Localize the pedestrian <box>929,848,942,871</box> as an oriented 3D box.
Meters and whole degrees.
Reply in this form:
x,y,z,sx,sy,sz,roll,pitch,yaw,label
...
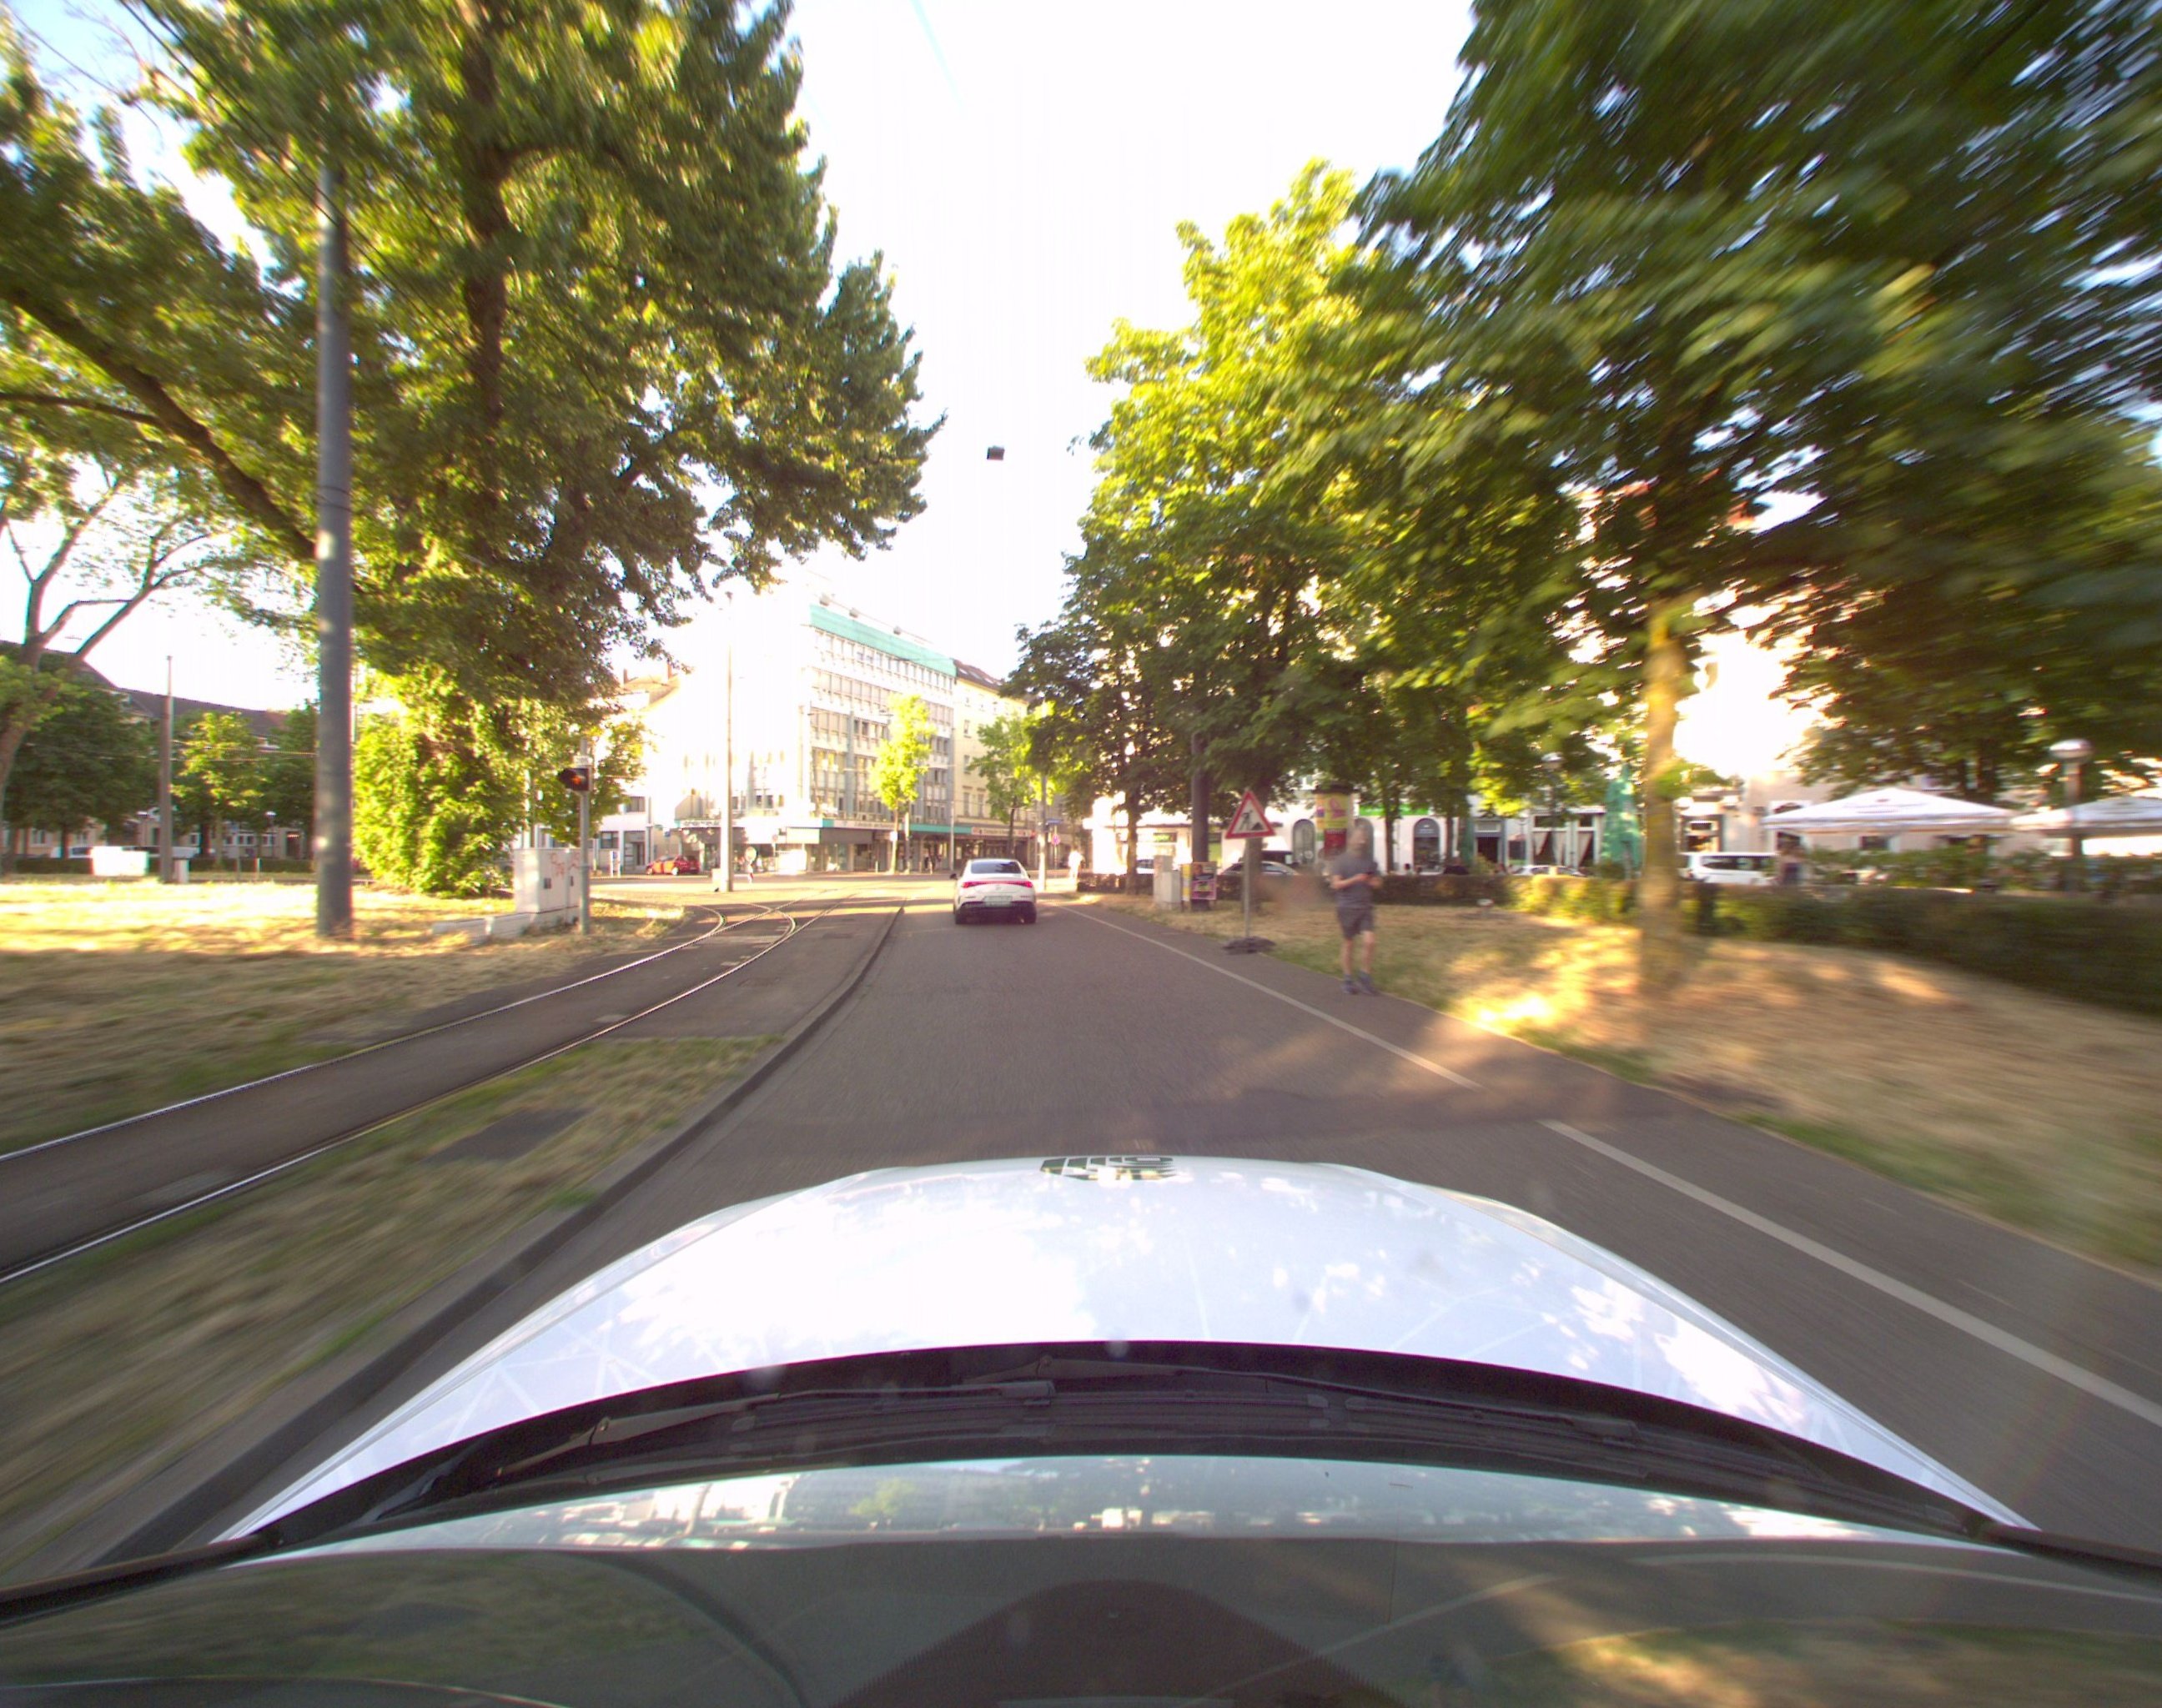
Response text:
x,y,z,sx,sy,sz,roll,pitch,yaw,label
-12.597,0.477,70.560,0.789,2.014,0.738,0,-1,25,pedestrian

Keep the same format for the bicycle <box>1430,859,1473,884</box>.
x,y,z,sx,sy,sz,roll,pitch,yaw,label
18.737,0.895,41.234,1.964,1.245,0.691,0,0,23,bicycle

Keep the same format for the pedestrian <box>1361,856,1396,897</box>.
x,y,z,sx,sy,sz,roll,pitch,yaw,label
10.014,0.749,27.437,0.942,1.283,0.666,5,1,16,pedestrian

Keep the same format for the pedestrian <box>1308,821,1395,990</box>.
x,y,z,sx,sy,sz,roll,pitch,yaw,label
2.909,0.529,8.777,0.645,1.743,0.583,1,0,-30,pedestrian

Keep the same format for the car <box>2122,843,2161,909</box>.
x,y,z,sx,sy,sz,roll,pitch,yaw,label
35.619,0.704,24.812,4.382,2.014,2.011,0,0,24,car

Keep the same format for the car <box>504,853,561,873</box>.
x,y,z,sx,sy,sz,roll,pitch,yaw,label
-43.042,0.712,63.905,3.950,1.530,2.012,0,-1,27,car

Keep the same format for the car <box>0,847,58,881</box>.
x,y,z,sx,sy,sz,roll,pitch,yaw,label
-64.853,0.566,48.776,1.984,2.013,4.006,1,0,5,car

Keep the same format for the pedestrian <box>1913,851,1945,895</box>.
x,y,z,sx,sy,sz,roll,pitch,yaw,label
21.941,0.483,21.068,0.550,1.117,0.496,0,-1,44,pedestrian

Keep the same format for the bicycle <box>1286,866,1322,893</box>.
x,y,z,sx,sy,sz,roll,pitch,yaw,label
8.199,0.922,29.872,1.538,0.929,0.549,1,-1,-44,bicycle

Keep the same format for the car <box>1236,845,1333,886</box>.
x,y,z,sx,sy,sz,roll,pitch,yaw,label
10.269,0.552,40.981,4.457,1.963,2.034,0,0,23,car

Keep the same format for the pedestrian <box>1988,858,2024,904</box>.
x,y,z,sx,sy,sz,roll,pitch,yaw,label
22.987,0.666,20.243,0.550,1.117,0.496,0,-1,44,pedestrian

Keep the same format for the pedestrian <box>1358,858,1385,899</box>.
x,y,z,sx,sy,sz,roll,pitch,yaw,label
9.268,0.770,25.966,0.771,1.243,0.993,1,0,20,pedestrian

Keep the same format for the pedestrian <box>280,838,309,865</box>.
x,y,z,sx,sy,sz,roll,pitch,yaw,label
-59.915,-0.212,62.039,1.447,2.014,1.126,0,-1,25,pedestrian

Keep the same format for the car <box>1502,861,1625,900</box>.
x,y,z,sx,sy,sz,roll,pitch,yaw,label
21.324,1.139,36.220,4.458,1.617,2.034,1,-1,23,car

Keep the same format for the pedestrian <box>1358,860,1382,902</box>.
x,y,z,sx,sy,sz,roll,pitch,yaw,label
8.760,0.808,24.697,0.561,1.244,0.616,0,-1,33,pedestrian

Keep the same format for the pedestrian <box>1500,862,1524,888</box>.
x,y,z,sx,sy,sz,roll,pitch,yaw,label
21.239,1.017,40.133,1.015,1.245,0.691,0,0,23,pedestrian

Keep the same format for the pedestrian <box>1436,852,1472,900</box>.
x,y,z,sx,sy,sz,roll,pitch,yaw,label
10.788,0.620,23.528,0.722,1.356,1.022,-1,-2,37,pedestrian

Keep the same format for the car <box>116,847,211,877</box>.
x,y,z,sx,sy,sz,roll,pitch,yaw,label
-64.233,0.548,57.107,1.984,2.013,4.006,1,0,5,car

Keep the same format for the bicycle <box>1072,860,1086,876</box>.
x,y,z,sx,sy,sz,roll,pitch,yaw,label
-0.150,0.948,55.564,0.351,1.076,1.708,1,-1,21,bicycle

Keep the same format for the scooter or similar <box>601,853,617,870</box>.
x,y,z,sx,sy,sz,roll,pitch,yaw,label
-38.625,0.610,66.570,0.759,1.398,1.905,1,0,-41,scooter or similar

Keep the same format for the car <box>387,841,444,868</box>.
x,y,z,sx,sy,sz,roll,pitch,yaw,label
-50.774,0.038,62.156,3.949,2.014,2.012,0,0,29,car

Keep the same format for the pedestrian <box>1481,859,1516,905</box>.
x,y,z,sx,sy,sz,roll,pitch,yaw,label
11.949,0.803,23.306,0.655,1.242,0.957,5,1,37,pedestrian

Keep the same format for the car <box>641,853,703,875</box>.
x,y,z,sx,sy,sz,roll,pitch,yaw,label
-29.127,0.668,57.978,3.949,1.485,2.039,1,0,30,car

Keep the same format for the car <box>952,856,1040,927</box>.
x,y,z,sx,sy,sz,roll,pitch,yaw,label
-2.078,0.799,19.455,1.867,1.469,4.032,-1,0,-8,car

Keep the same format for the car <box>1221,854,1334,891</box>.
x,y,z,sx,sy,sz,roll,pitch,yaw,label
8.649,0.782,35.910,4.617,1.514,1.748,0,0,23,car

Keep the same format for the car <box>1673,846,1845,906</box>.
x,y,z,sx,sy,sz,roll,pitch,yaw,label
24.235,0.741,29.330,4.382,2.014,2.011,0,0,24,car

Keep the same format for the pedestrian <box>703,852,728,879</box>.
x,y,z,sx,sy,sz,roll,pitch,yaw,label
-23.409,0.752,52.198,0.896,1.703,1.170,-1,-1,41,pedestrian

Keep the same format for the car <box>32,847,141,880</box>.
x,y,z,sx,sy,sz,roll,pitch,yaw,label
-64.554,0.599,52.979,1.984,2.013,4.006,1,0,5,car

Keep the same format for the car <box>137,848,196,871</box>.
x,y,z,sx,sy,sz,roll,pitch,yaw,label
-79.638,0.481,70.923,3.955,2.014,2.009,0,0,18,car

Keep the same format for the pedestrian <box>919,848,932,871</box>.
x,y,z,sx,sy,sz,roll,pitch,yaw,label
-13.505,0.462,70.832,0.789,2.014,0.738,0,-1,25,pedestrian

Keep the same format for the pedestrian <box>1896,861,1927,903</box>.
x,y,z,sx,sy,sz,roll,pitch,yaw,label
22.172,0.739,21.744,0.550,1.117,0.461,0,-1,44,pedestrian

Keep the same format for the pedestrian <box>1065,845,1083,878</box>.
x,y,z,sx,sy,sz,roll,pitch,yaw,label
-0.448,0.442,50.241,0.834,2.014,0.850,1,-1,18,pedestrian

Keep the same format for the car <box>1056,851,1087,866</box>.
x,y,z,sx,sy,sz,roll,pitch,yaw,label
-1.035,0.524,91.207,1.944,1.640,4.023,1,0,25,car

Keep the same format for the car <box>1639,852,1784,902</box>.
x,y,z,sx,sy,sz,roll,pitch,yaw,label
26.355,0.916,34.248,4.458,1.963,2.034,1,-1,23,car

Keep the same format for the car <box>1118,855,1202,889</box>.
x,y,z,sx,sy,sz,roll,pitch,yaw,label
3.698,0.819,38.164,3.534,1.514,1.748,0,0,23,car
